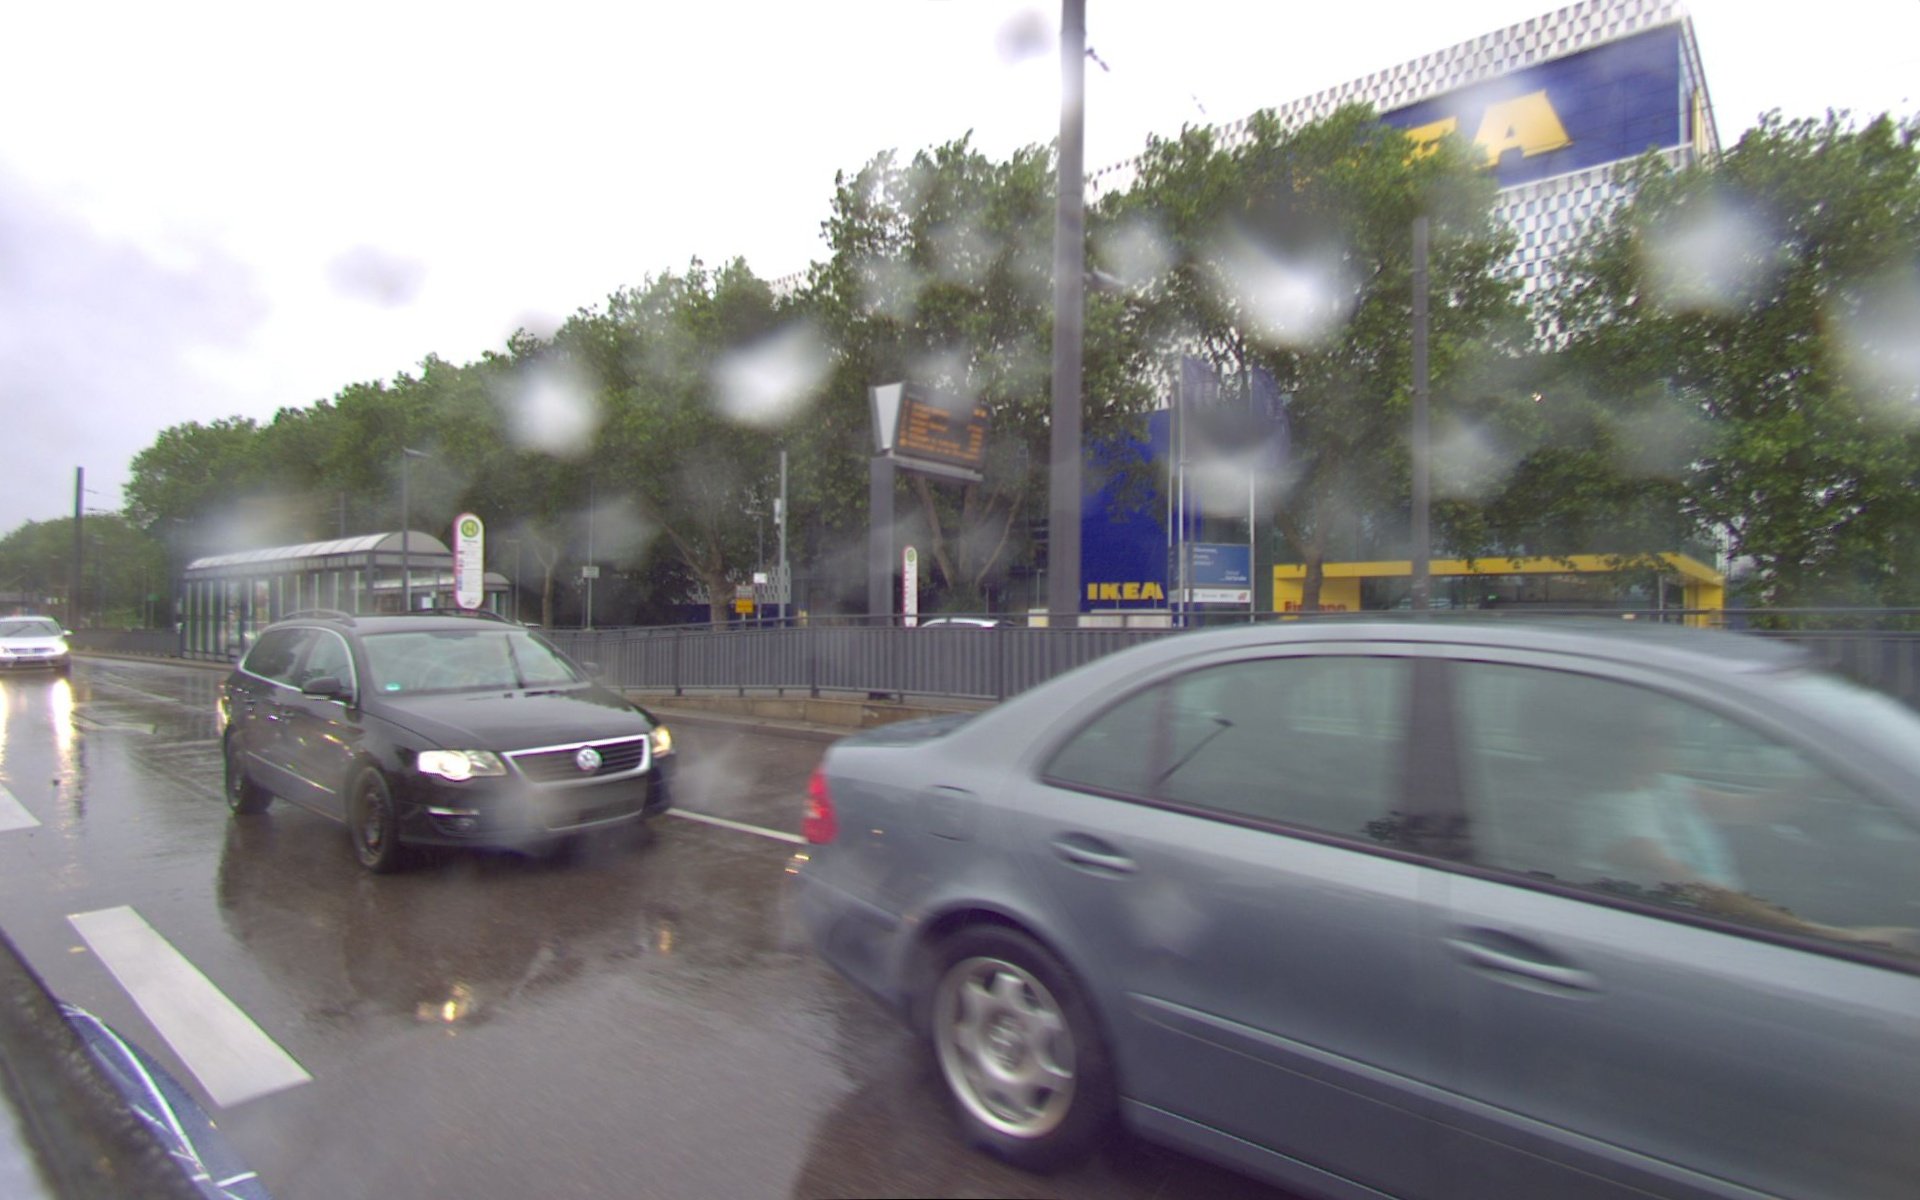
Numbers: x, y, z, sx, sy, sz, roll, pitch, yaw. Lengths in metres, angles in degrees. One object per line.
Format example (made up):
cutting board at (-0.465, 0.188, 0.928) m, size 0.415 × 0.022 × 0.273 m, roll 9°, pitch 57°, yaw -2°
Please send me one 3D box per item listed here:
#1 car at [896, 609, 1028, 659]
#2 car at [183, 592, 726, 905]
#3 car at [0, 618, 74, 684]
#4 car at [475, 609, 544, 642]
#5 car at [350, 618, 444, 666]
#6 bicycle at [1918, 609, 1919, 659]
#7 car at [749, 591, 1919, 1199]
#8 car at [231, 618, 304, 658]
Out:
car at (0.017, 0.950, 29.933) m, size 3.829 × 1.346 × 1.571 m, roll 0°, pitch 0°, yaw 41°
car at (-3.748, 0.726, 7.065) m, size 4.594 × 1.512 × 1.753 m, roll 0°, pitch 0°, yaw 41°
car at (-25.902, 1.351, 27.866) m, size 3.998 × 1.618 × 1.771 m, roll 0°, pitch 0°, yaw 41°
car at (-22.225, 1.216, 49.842) m, size 3.875 × 1.503 × 1.680 m, roll 0°, pitch 0°, yaw 42°
car at (-17.841, 1.290, 32.030) m, size 3.615 × 1.371 × 1.507 m, roll 0°, pitch 0°, yaw 42°
bicycle at (19.942, 0.684, 19.812) m, size 1.709 × 0.994 × 0.445 m, roll 0°, pitch 0°, yaw 43°
car at (1.651, 0.688, 2.317) m, size 4.643 × 1.409 × 1.744 m, roll 0°, pitch 0°, yaw 41°
car at (-30.893, 1.655, 45.127) m, size 3.999 × 1.618 × 1.770 m, roll 0°, pitch 0°, yaw 42°
